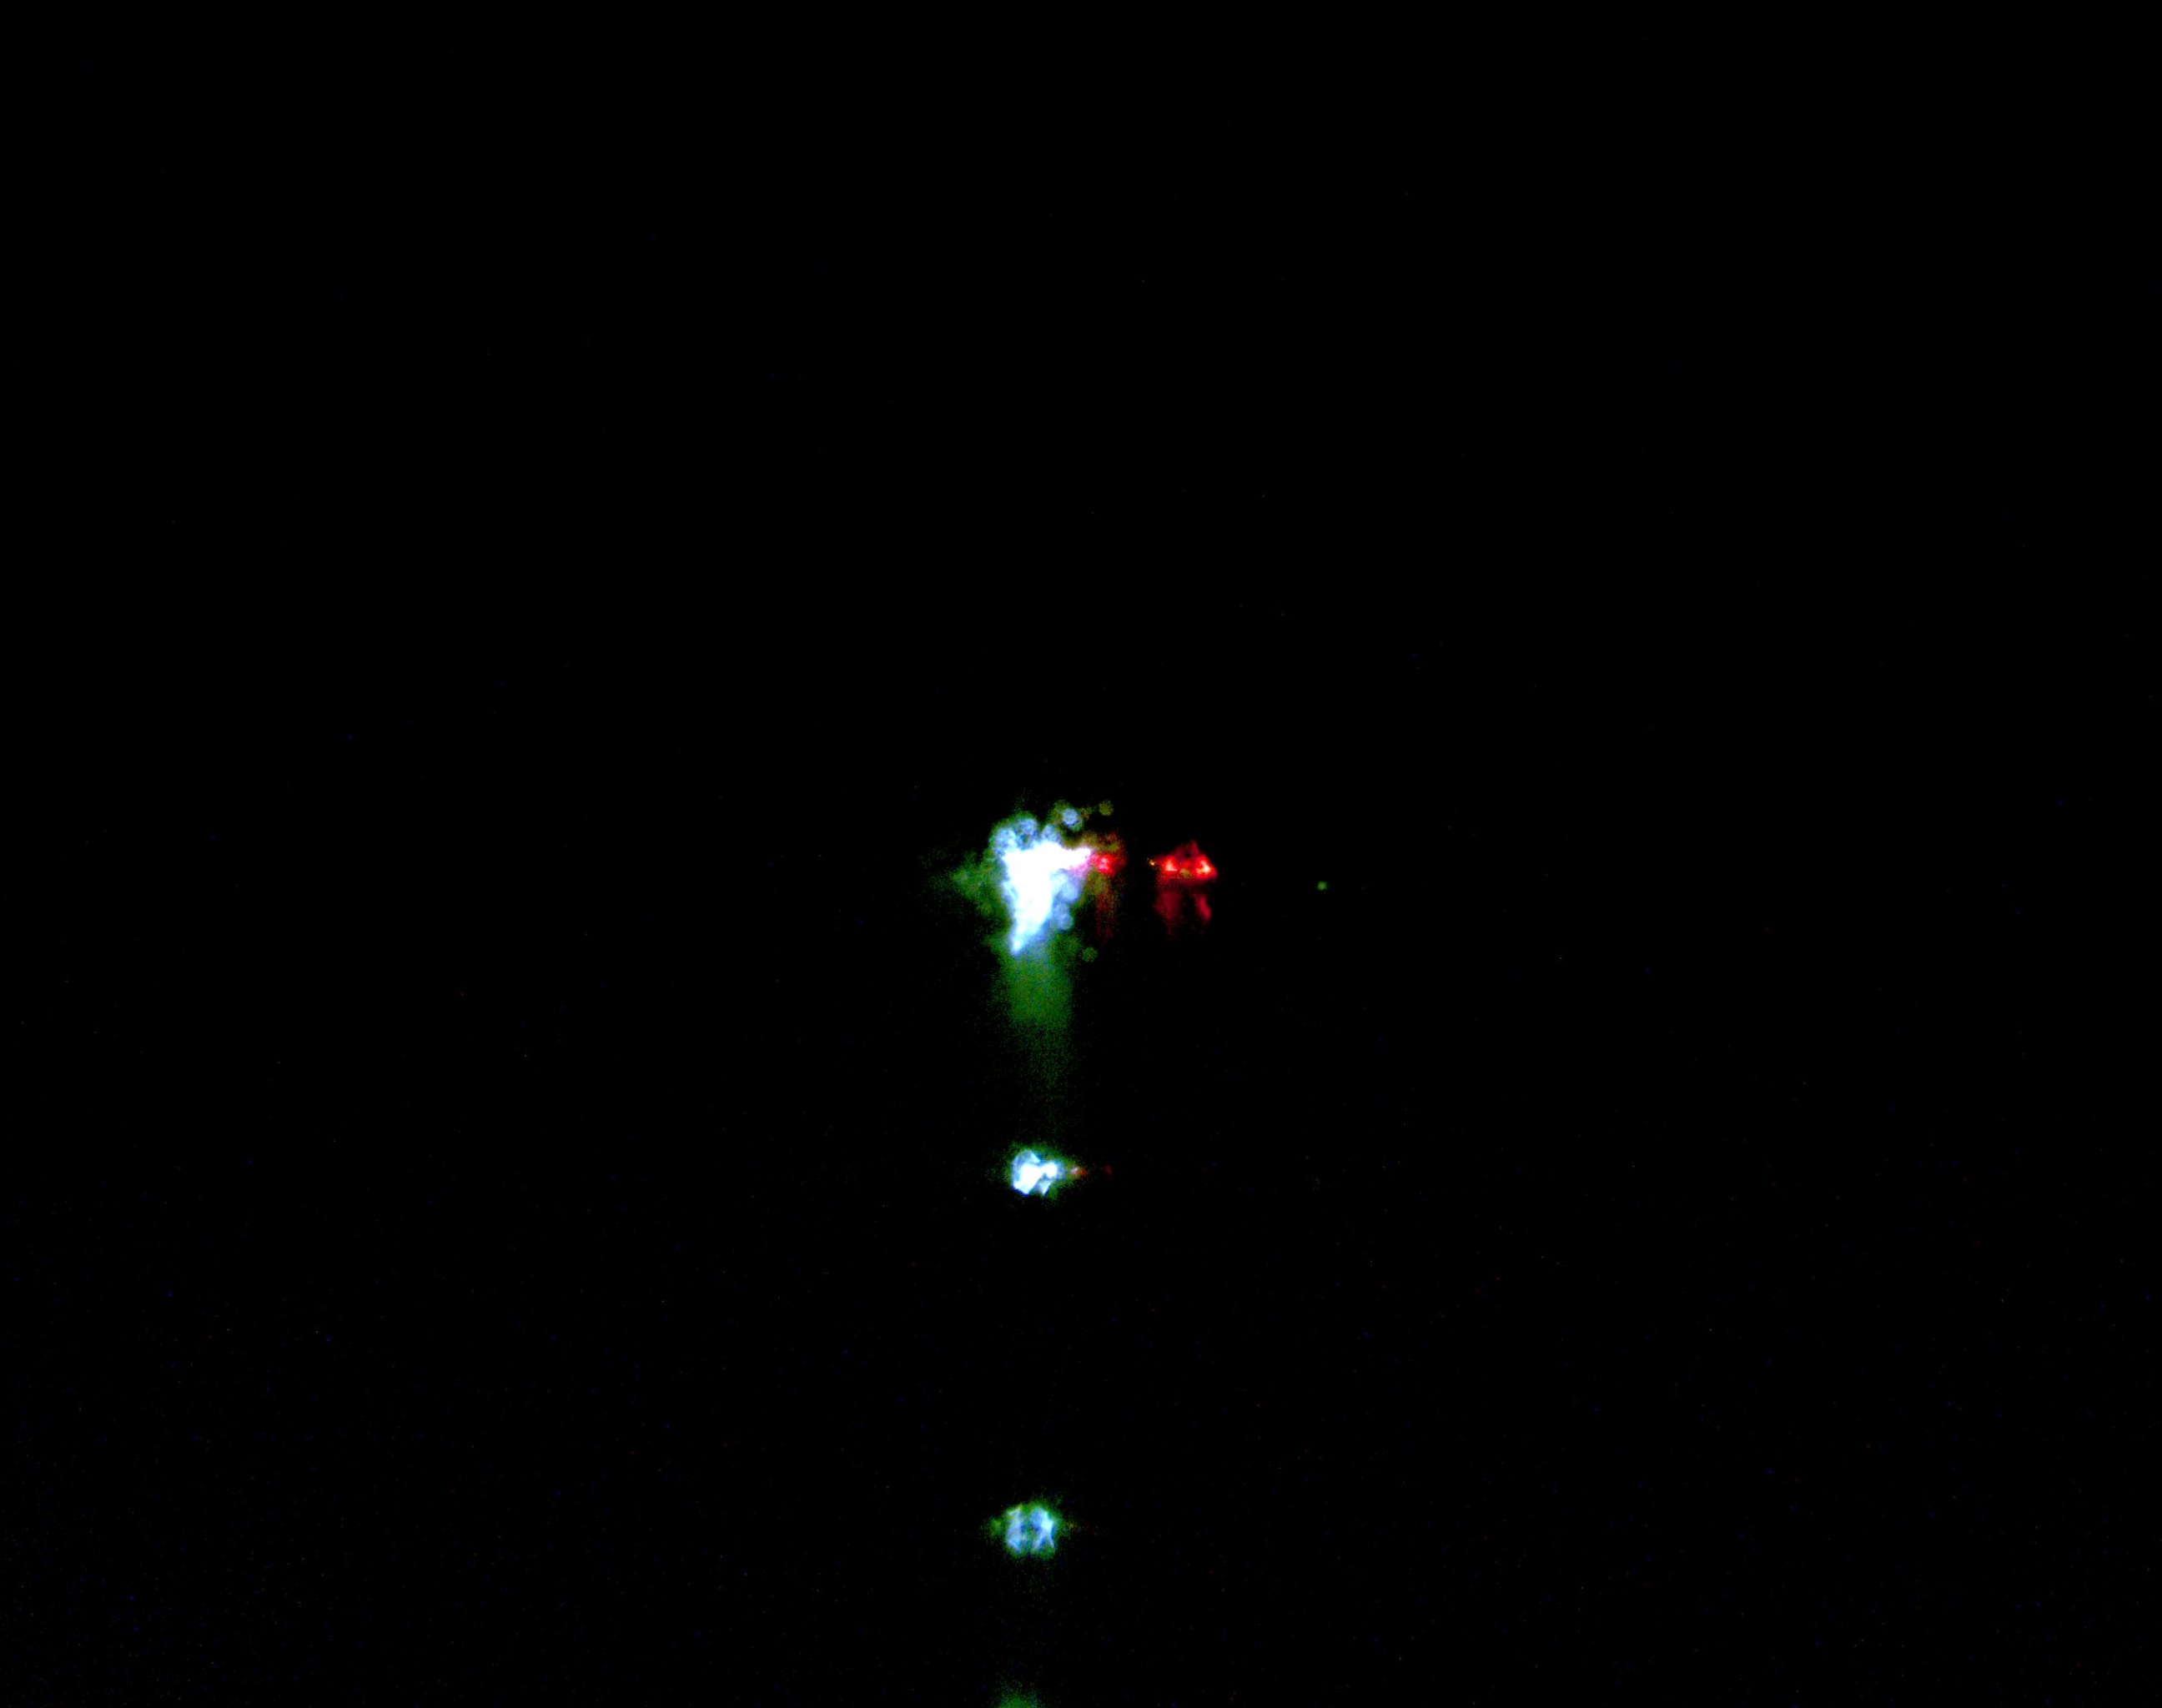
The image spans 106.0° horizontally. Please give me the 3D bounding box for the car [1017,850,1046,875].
[{"bbox_3d":[-3.447,0.550,55.694,1.806,1.621,3.992,-1,0,-6],"label":"car"}]

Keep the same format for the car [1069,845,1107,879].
[{"bbox_3d":[0.362,0.385,40.796,1.803,1.621,4.000,-1,0,0],"label":"car"}]

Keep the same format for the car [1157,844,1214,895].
[{"bbox_3d":[4.340,0.628,34.291,2.085,2.013,4.003,0,0,3],"label":"car"}]
